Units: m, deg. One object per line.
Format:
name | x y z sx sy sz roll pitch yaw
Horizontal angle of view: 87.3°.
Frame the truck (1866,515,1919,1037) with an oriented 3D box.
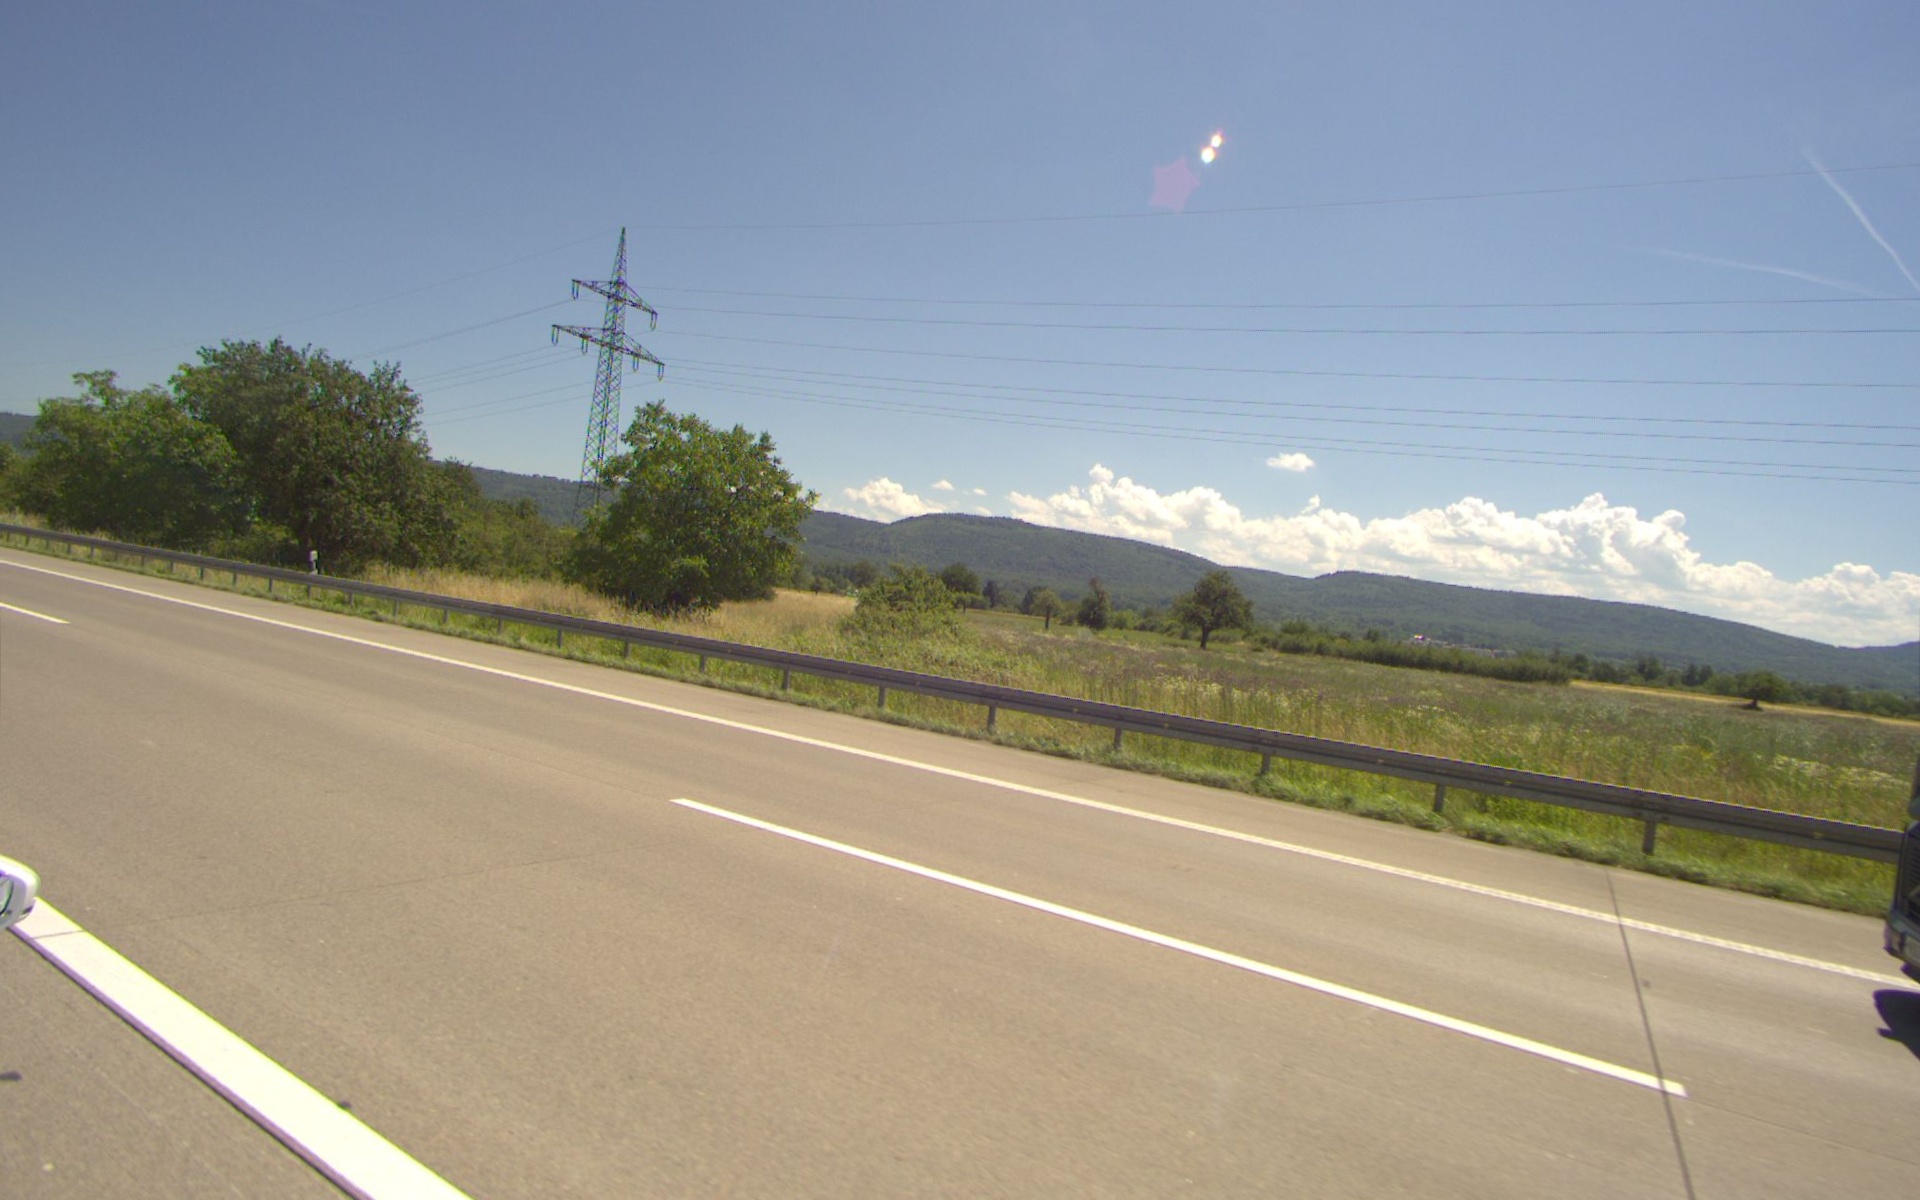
truck | 7.707 0.458 3.888 5.611 4.242 1.997 6 -1 32
